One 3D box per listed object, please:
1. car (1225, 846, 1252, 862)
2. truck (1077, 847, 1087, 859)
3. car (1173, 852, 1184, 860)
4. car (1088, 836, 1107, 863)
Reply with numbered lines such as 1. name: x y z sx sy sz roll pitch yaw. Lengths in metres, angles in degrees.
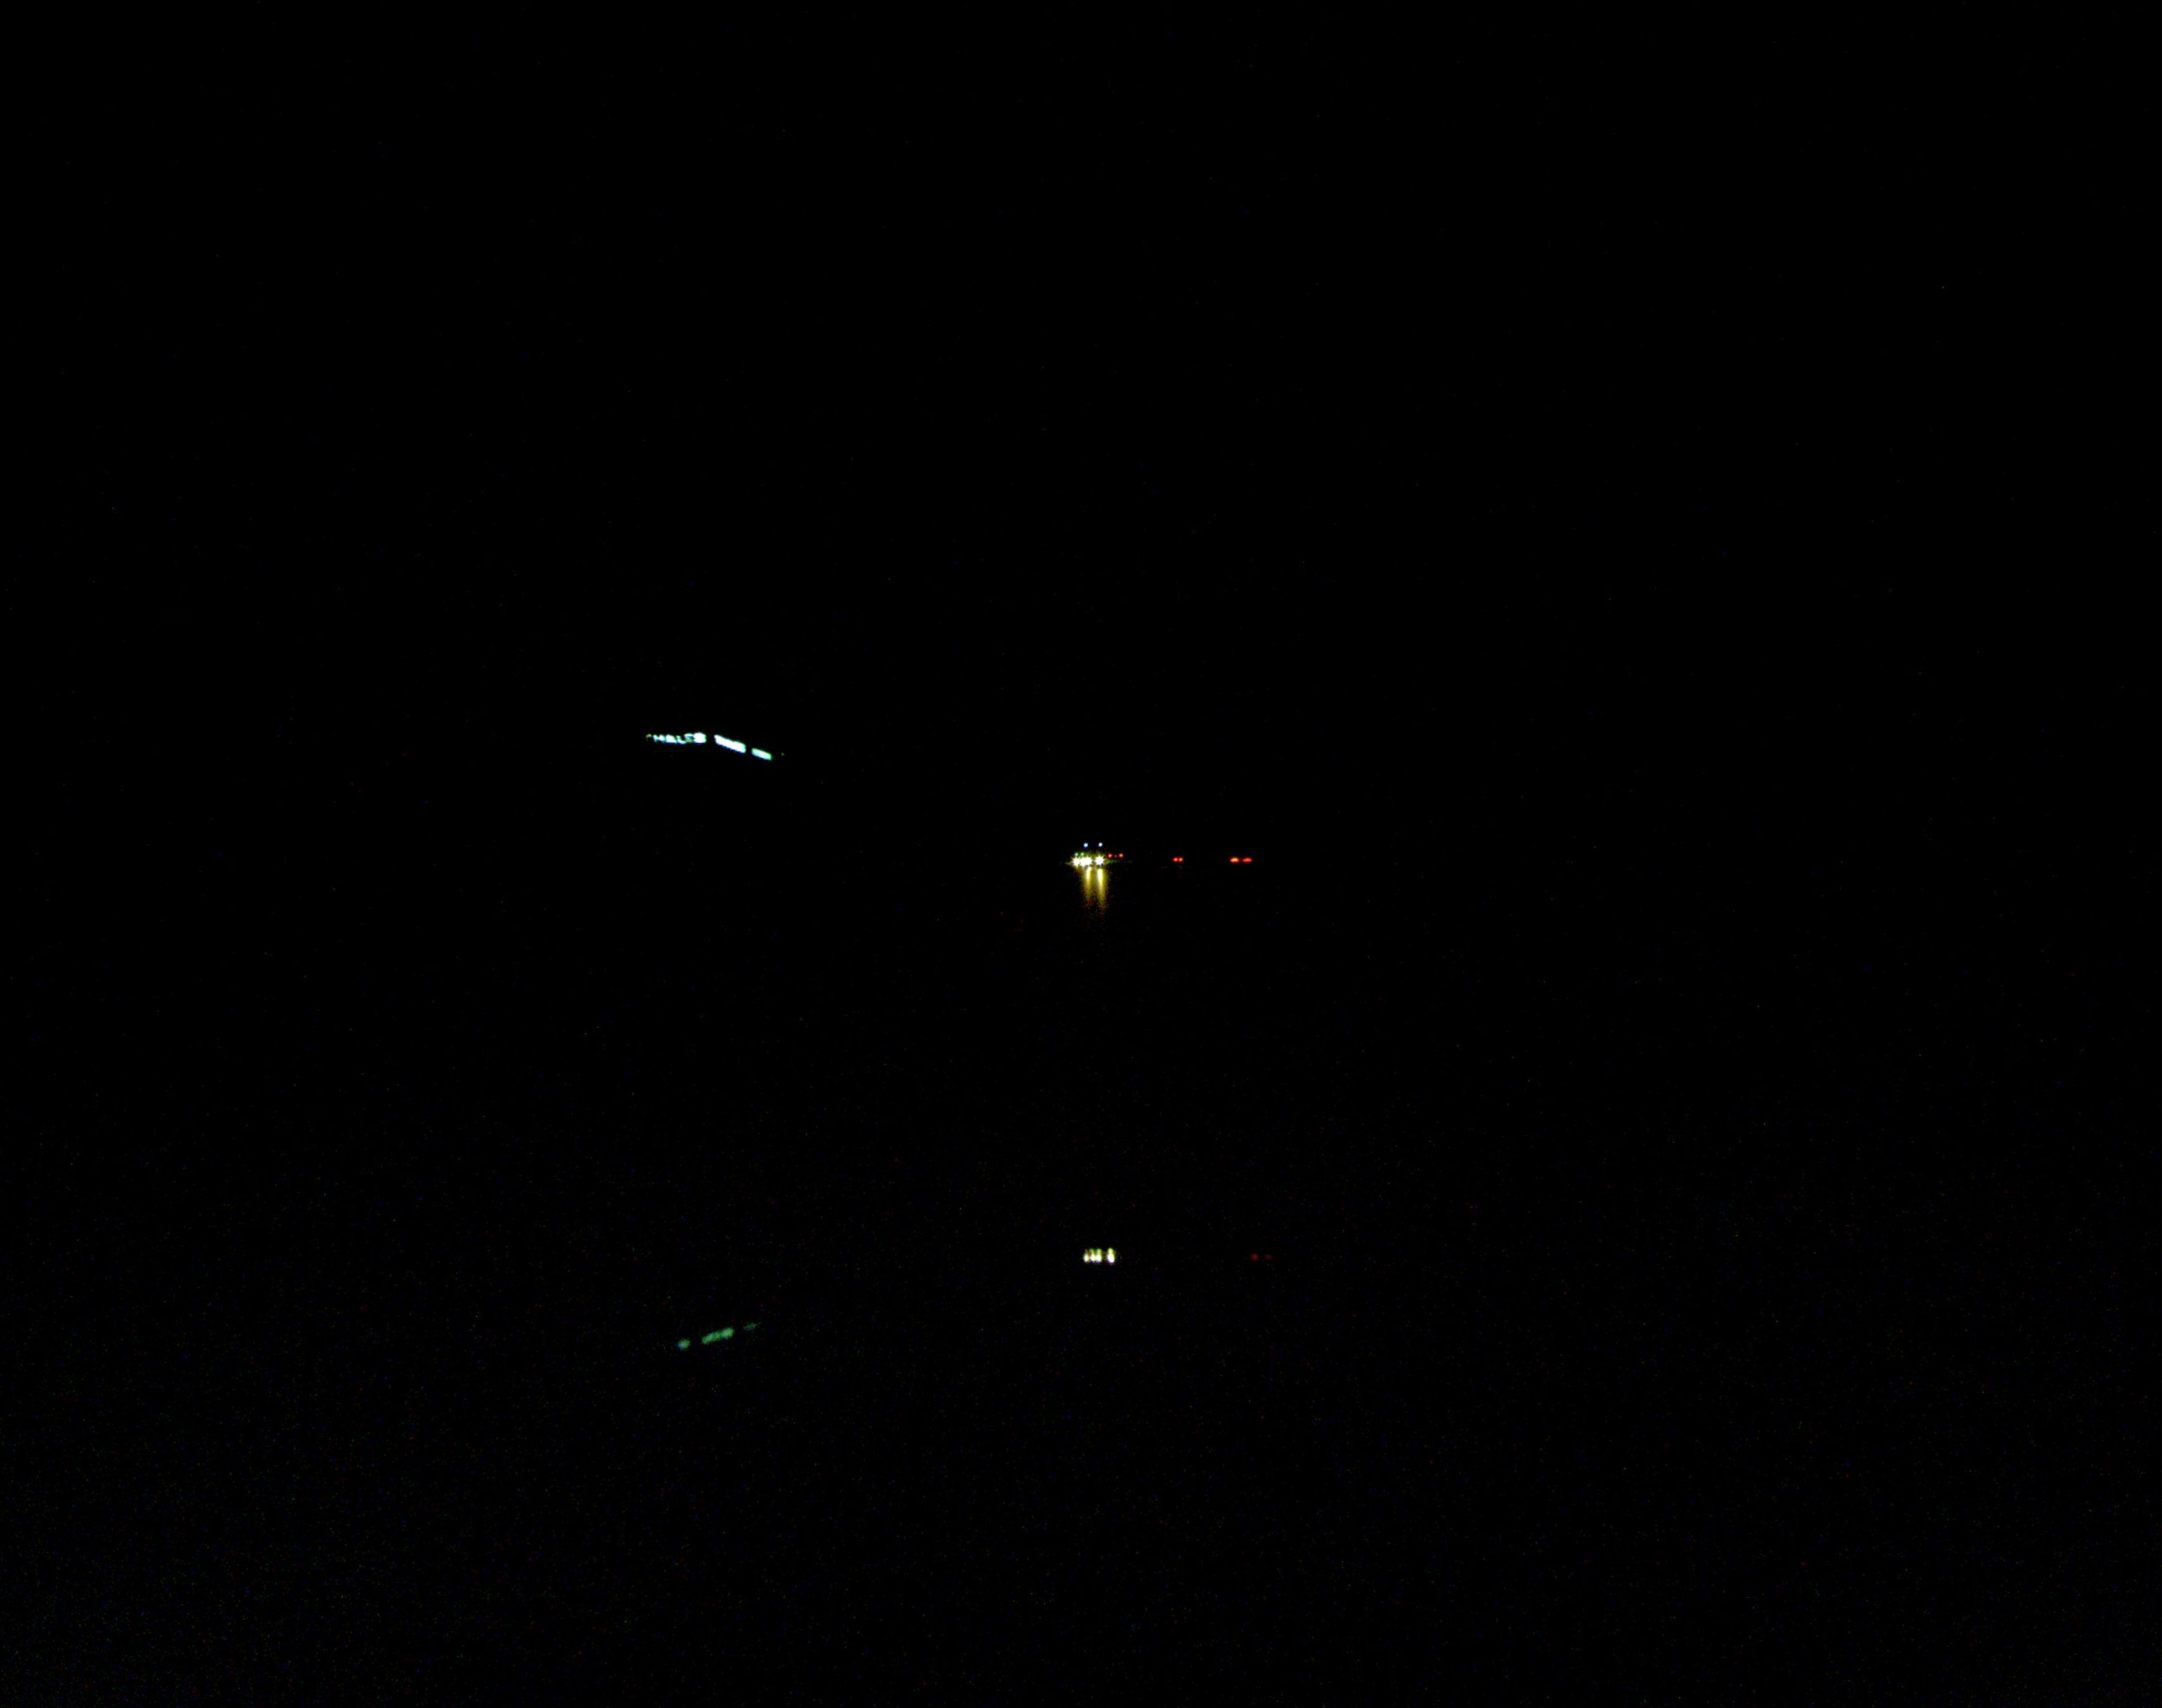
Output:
1. car: 17.134 0.010 82.868 1.908 1.608 4.403 -1 0 -1
2. truck: 0.250 -0.383 252.800 3.042 3.726 7.560 -1 0 1
3. car: 22.762 0.367 177.011 1.908 1.625 5.045 -4 1 1
4. car: 2.068 -0.601 97.897 2.255 3.205 6.878 -3 1 1
